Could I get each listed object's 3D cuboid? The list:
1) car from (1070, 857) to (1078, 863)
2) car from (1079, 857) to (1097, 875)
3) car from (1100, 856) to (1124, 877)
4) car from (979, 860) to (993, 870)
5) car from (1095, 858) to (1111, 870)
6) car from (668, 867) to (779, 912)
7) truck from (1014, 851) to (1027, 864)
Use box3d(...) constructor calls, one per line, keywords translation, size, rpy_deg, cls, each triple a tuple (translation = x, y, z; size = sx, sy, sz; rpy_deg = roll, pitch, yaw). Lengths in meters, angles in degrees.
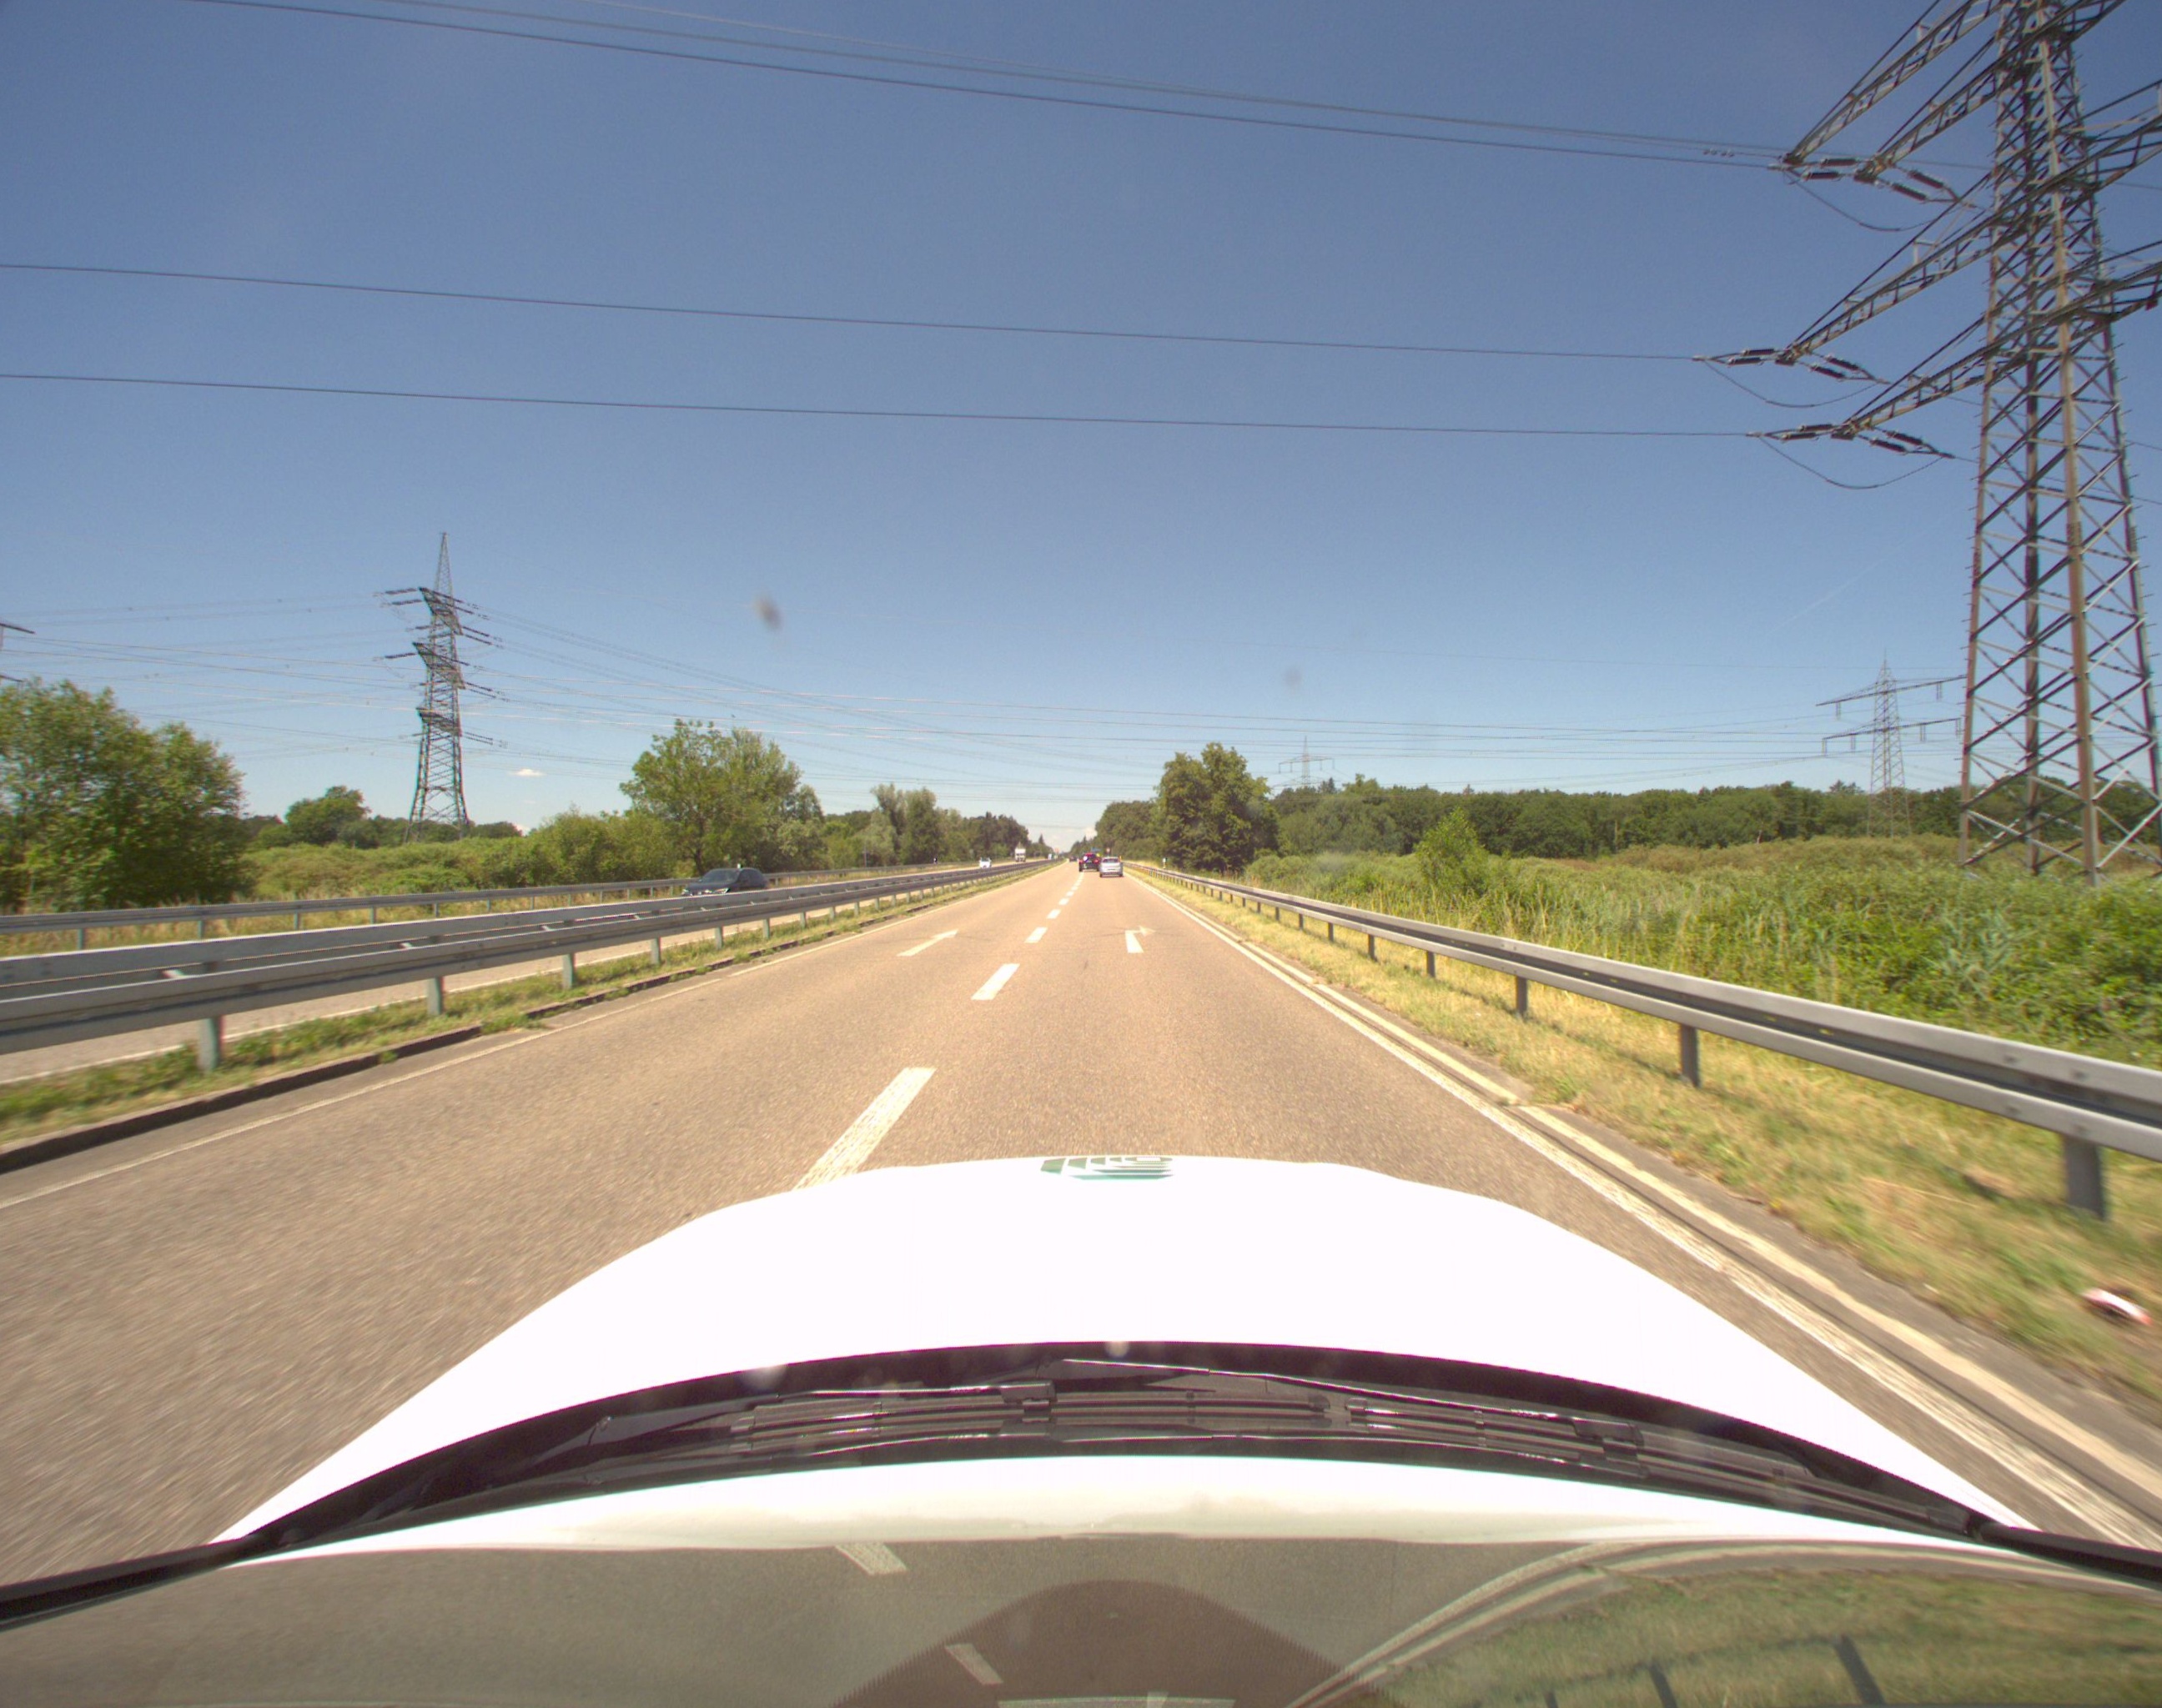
box3d(translation=(-1.695, 1.474, 195.078), size=(1.707, 1.471, 3.572), rpy_deg=(1, 0, -1), cls="car")
box3d(translation=(0.685, 1.142, 77.684), size=(1.635, 1.654, 3.573), rpy_deg=(1, 0, 0), cls="car")
box3d(translation=(2.227, 0.892, 59.451), size=(1.634, 1.468, 3.419), rpy_deg=(1, 0, 1), cls="car")
box3d(translation=(-13.923, 1.638, 119.865), size=(1.527, 1.449, 3.702), rpy_deg=(-1, 0, 1), cls="car")
box3d(translation=(2.602, 1.176, 95.474), size=(1.633, 1.343, 3.578), rpy_deg=(1, 0, 4), cls="car")
box3d(translation=(-12.818, 1.237, 29.566), size=(1.838, 1.413, 4.682), rpy_deg=(-1, 0, 2), cls="car")
box3d(translation=(-15.364, 0.763, 207.830), size=(2.709, 3.193, 8.404), rpy_deg=(-1, 0, 0), cls="truck")
